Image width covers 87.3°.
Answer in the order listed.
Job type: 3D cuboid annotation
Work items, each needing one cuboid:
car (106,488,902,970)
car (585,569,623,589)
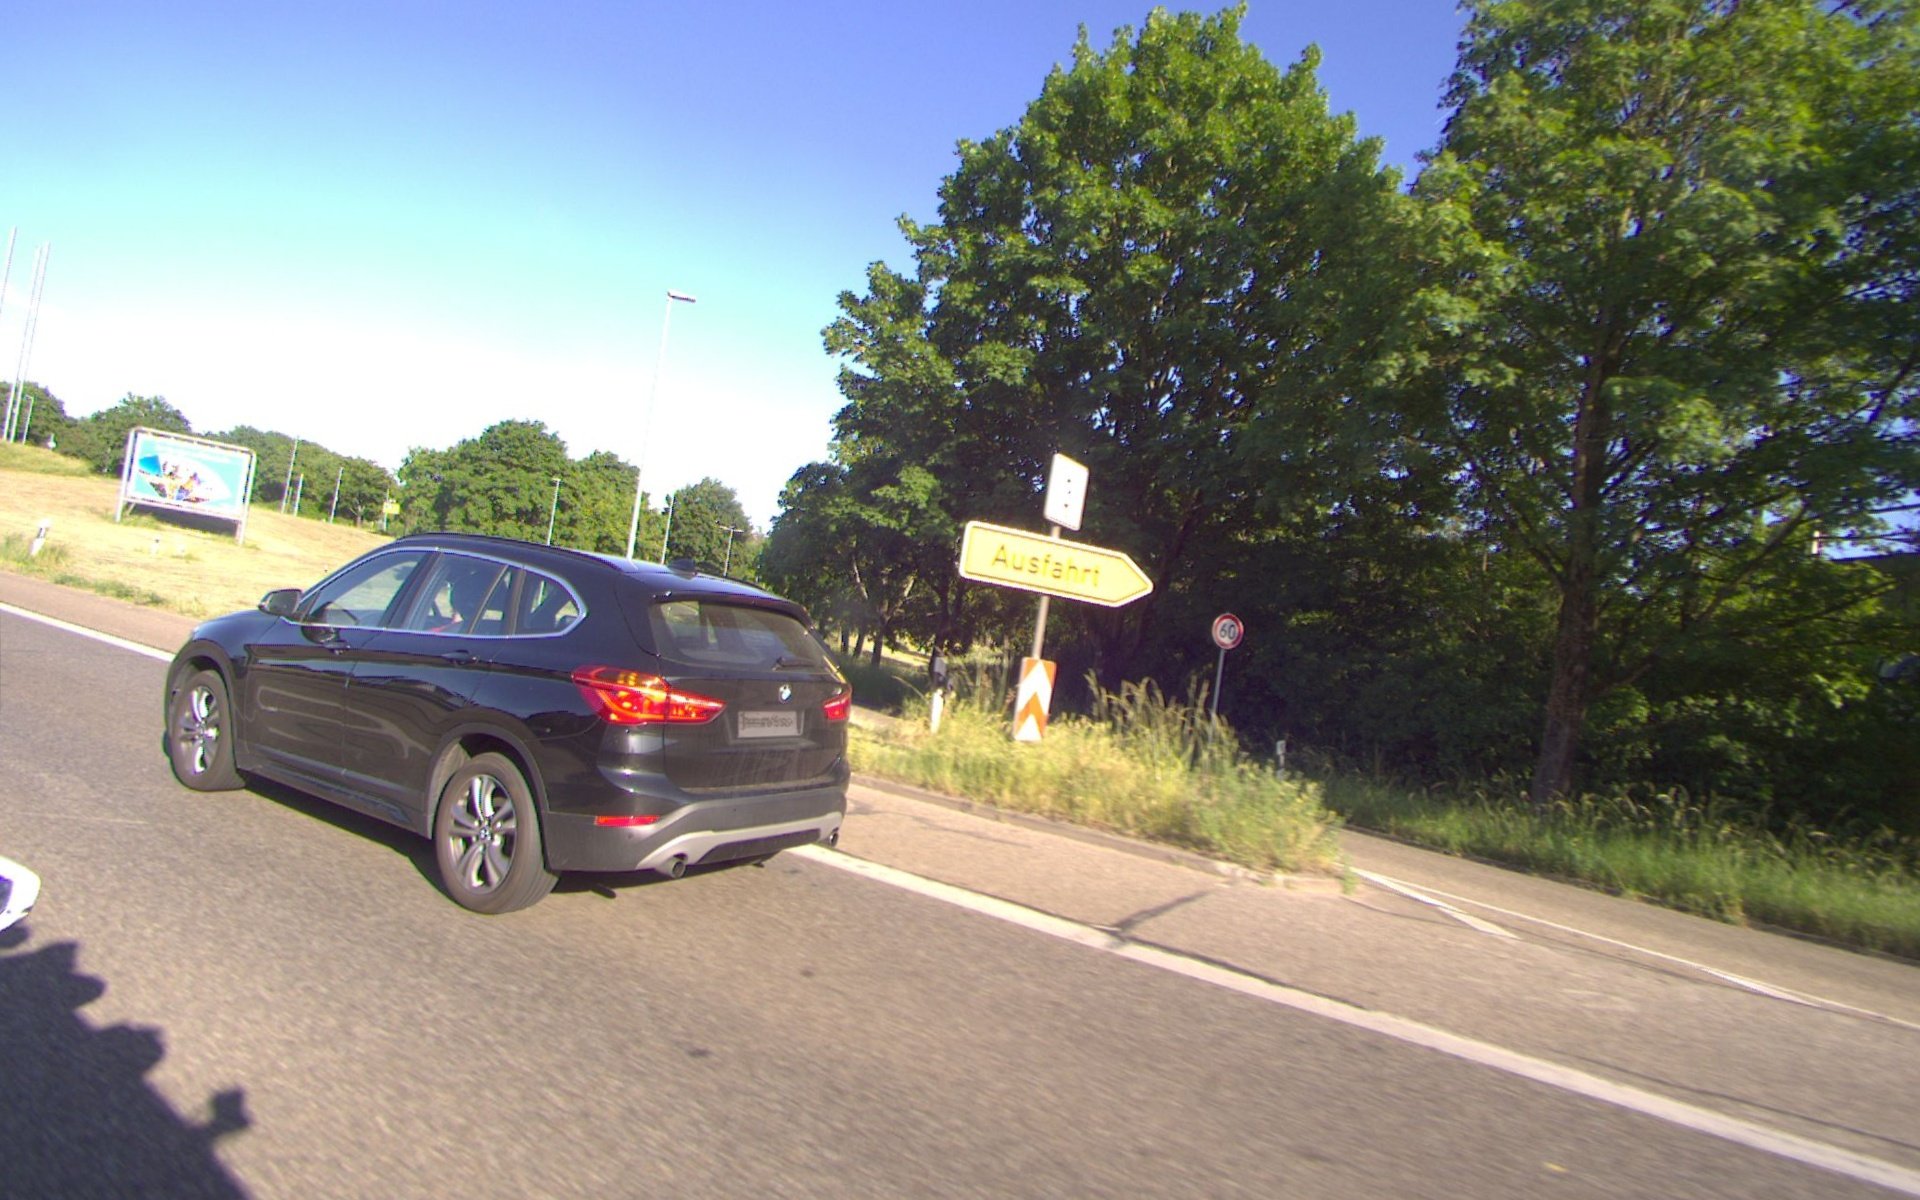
[{"bbox_3d":[-2.738,0.443,5.702,4.445,1.591,1.759,7,-1,31],"label":"car"},{"bbox_3d":[-42.685,-2.524,120.526,3.927,1.711,1.869,8,0,24],"label":"car"}]
